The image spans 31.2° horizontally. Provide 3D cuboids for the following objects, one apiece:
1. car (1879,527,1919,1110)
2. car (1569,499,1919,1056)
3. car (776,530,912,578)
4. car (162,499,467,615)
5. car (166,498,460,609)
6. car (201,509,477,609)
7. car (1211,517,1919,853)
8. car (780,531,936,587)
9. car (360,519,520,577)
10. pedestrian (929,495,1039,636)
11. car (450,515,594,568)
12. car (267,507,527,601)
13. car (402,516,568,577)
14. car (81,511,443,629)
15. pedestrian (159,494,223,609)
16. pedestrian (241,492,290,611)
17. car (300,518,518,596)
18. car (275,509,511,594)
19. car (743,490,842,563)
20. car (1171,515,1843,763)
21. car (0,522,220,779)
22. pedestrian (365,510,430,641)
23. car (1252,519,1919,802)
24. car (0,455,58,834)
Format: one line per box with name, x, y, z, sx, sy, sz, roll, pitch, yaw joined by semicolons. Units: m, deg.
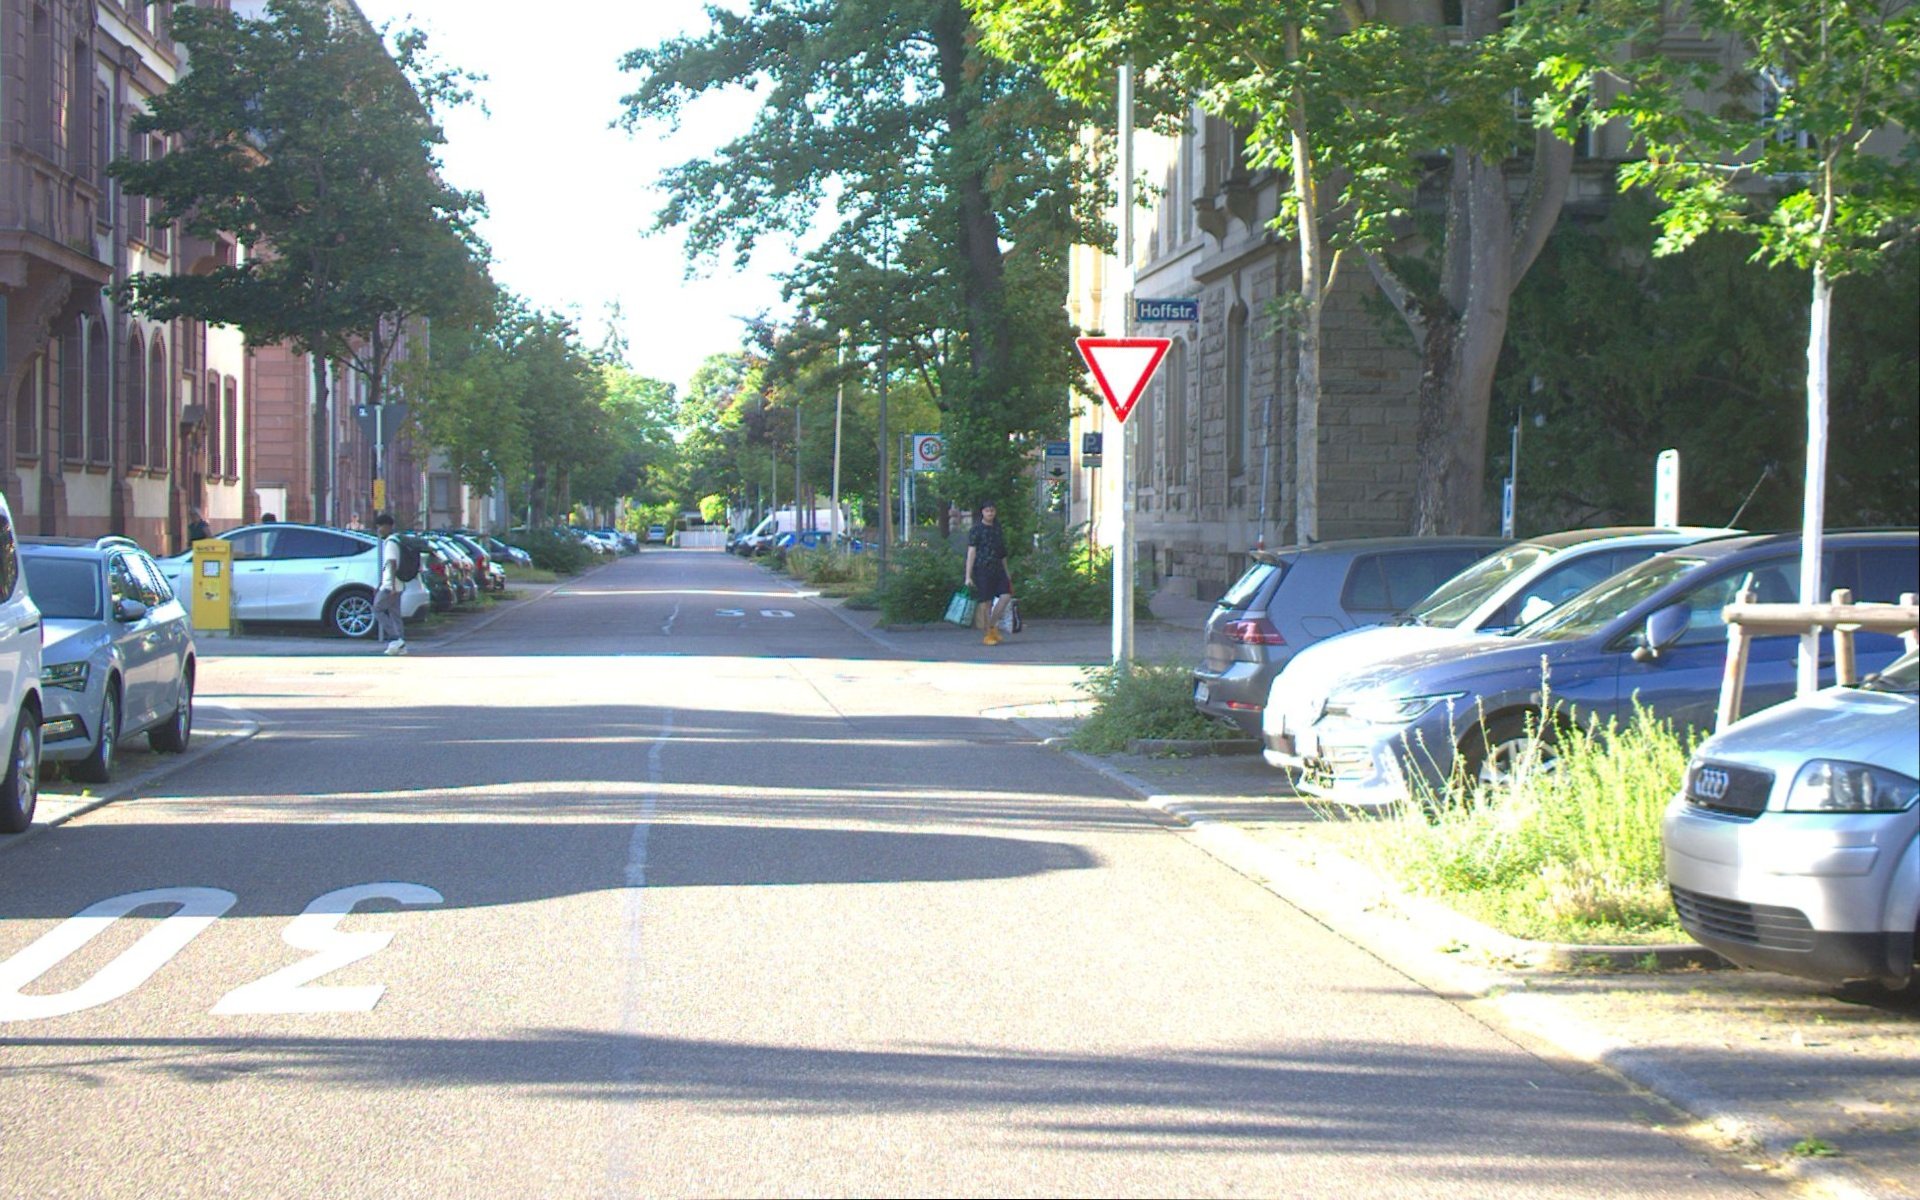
car;4.411;0.594;8.548;3.680;1.518;1.792;0;1;-7
car;3.939;0.488;10.992;3.492;1.579;1.763;0;1;-14
car;-4.031;-1.608;119.036;4.582;1.602;1.843;1;1;-6
car;-9.892;-0.664;52.943;4.481;1.711;1.843;0;1;-6
car;-10.315;-0.756;55.085;4.481;1.711;1.843;0;1;-6
car;-10.510;-0.704;58.440;4.481;1.602;1.843;1;1;-6
car;3.636;0.382;16.960;4.490;1.544;1.892;0;1;-7
car;-3.027;-1.218;101.771;4.481;1.602;1.843;1;1;-6
car;-14.996;-1.513;99.266;4.481;1.602;1.843;1;1;-6
pedestrian;0.323;-0.462;45.944;1.060;1.851;1.002;0;1;-36
car;-13.905;-1.863;109.311;4.481;1.602;1.843;1;1;-6
car;-10.065;-0.836;61.717;4.481;1.602;1.843;1;1;-6
car;-13.146;-1.490;95.253;4.481;1.602;1.843;1;1;-6
car;-9.766;-0.429;48.399;4.841;1.588;1.843;0;1;-6
pedestrian;-13.255;-0.829;59.231;0.719;1.955;0.786;0;0;35
pedestrian;-11.480;-0.798;56.821;0.784;1.955;0.721;0;0;-12
car;-11.724;-0.926;73.365;4.481;1.602;1.843;1;1;-6
car;-11.181;-0.958;68.027;4.481;1.602;1.843;1;1;-6
car;-8.526;-3.743;174.692;4.885;3.605;1.842;1;1;-5
car;3.429;0.252;22.086;3.953;1.511;1.874;0;-1;-3
car;-6.085;0.244;22.469;1.781;1.500;4.553;1;1;-4
pedestrian;-6.942;-0.301;42.415;0.784;1.601;0.721;0;0;-10
car;3.725;0.316;19.525;3.954;1.511;1.675;0;1;-1
car;-5.474;0.229;15.841;1.780;1.834;4.554;0;1;-5
